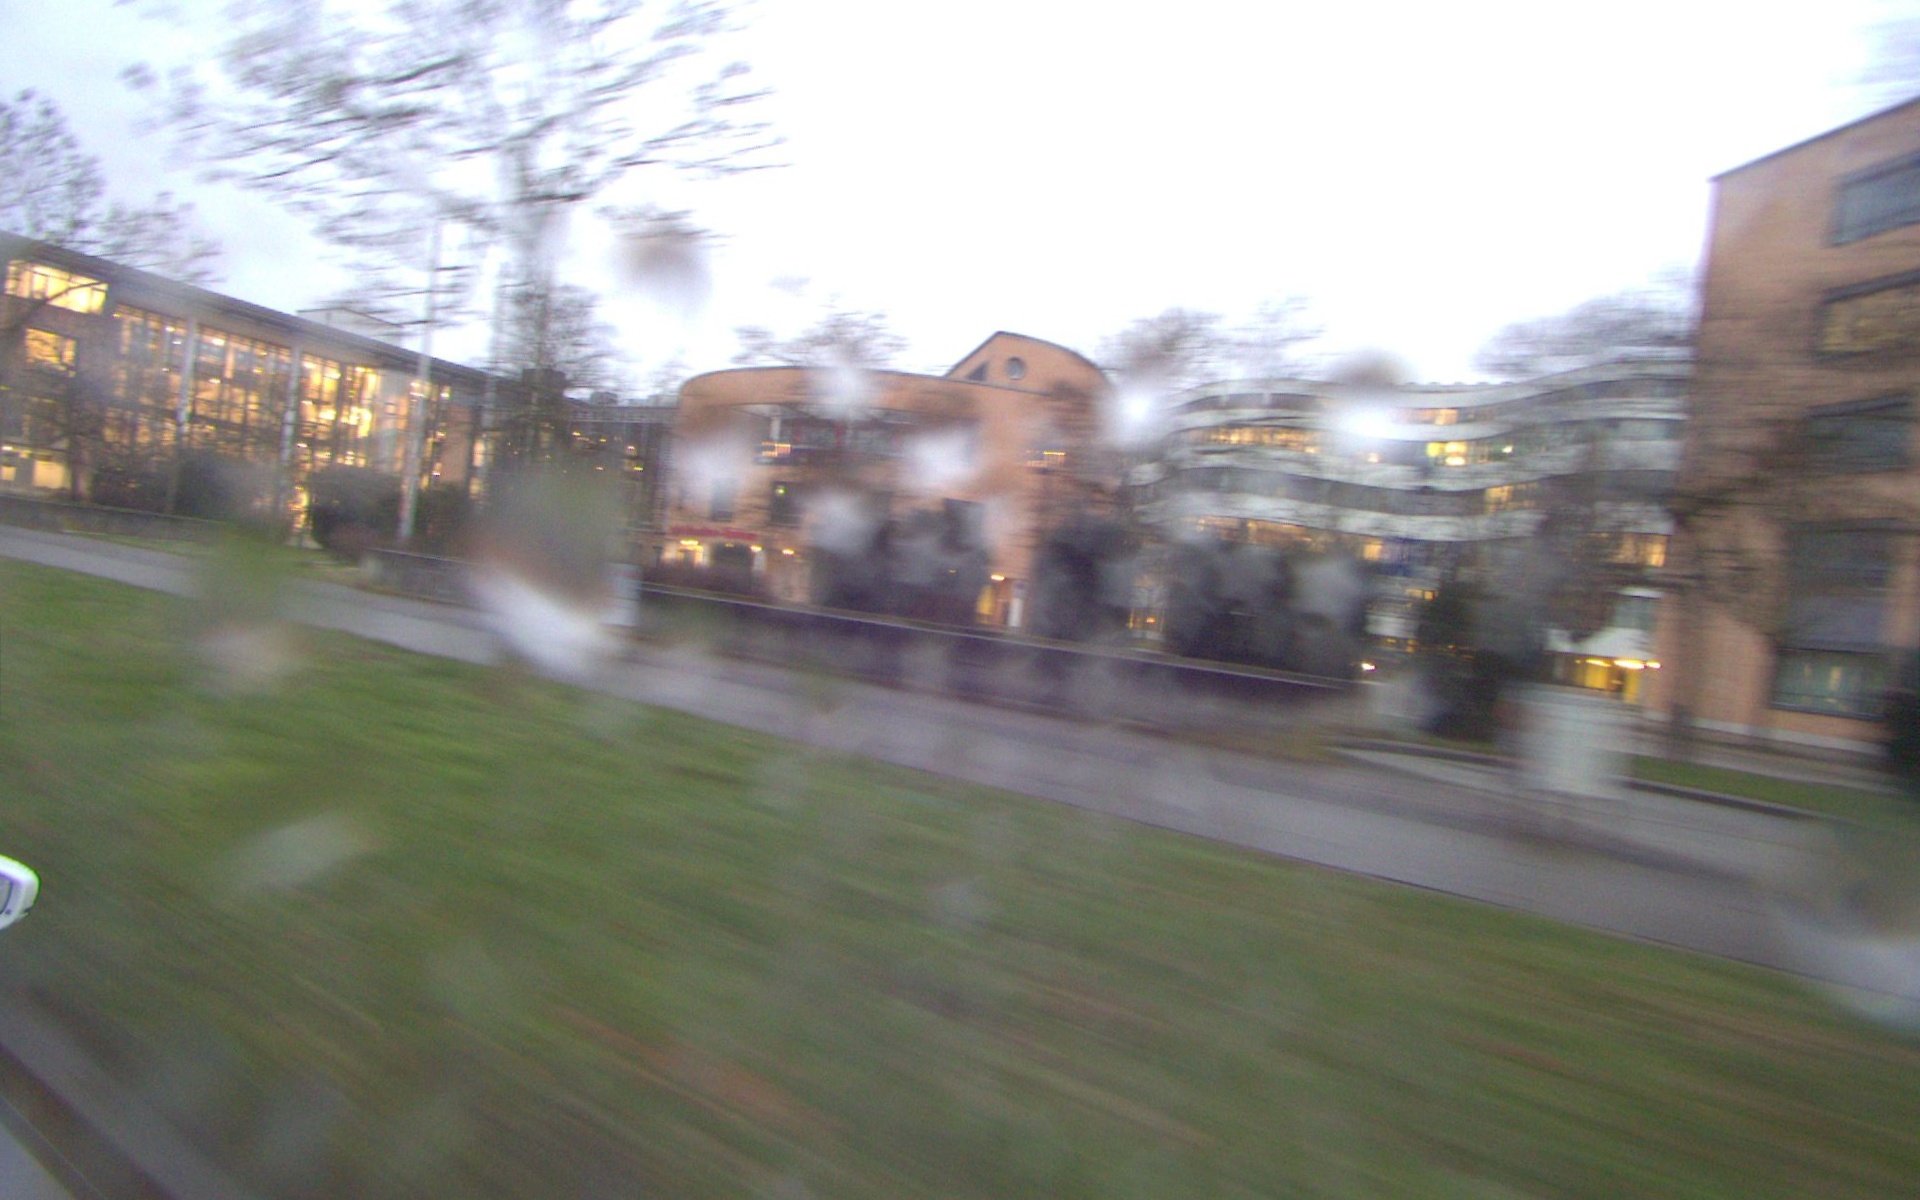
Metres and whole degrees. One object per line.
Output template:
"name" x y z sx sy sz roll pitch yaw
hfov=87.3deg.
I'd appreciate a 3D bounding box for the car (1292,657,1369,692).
"car" 18.141 3.624 49.428 1.646 1.195 3.697 7 0 -14
